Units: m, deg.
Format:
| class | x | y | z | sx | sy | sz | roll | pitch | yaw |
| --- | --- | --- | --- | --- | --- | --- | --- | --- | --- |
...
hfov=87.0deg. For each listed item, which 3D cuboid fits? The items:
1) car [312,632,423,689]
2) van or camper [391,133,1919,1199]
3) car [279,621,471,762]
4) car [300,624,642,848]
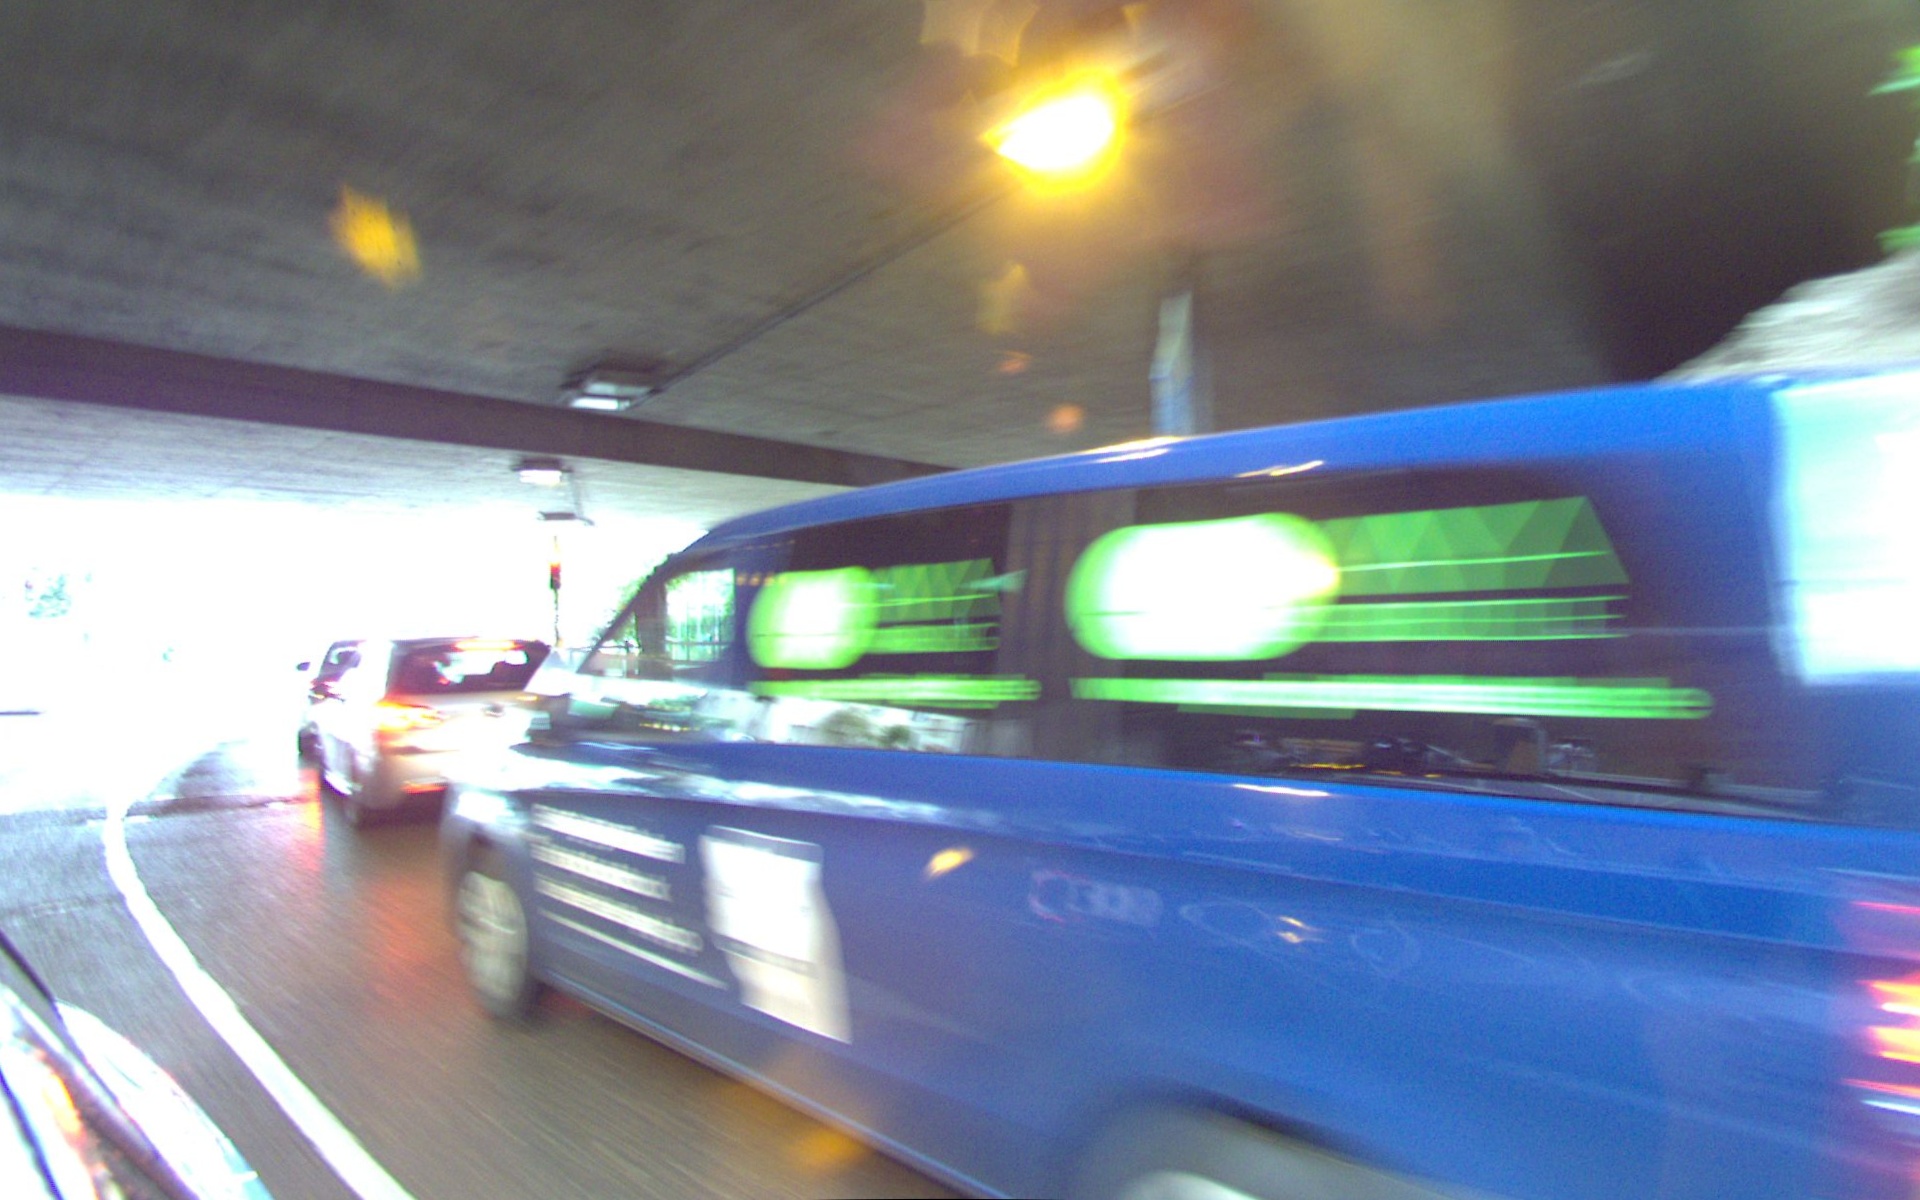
| class | x | y | z | sx | sy | sz | roll | pitch | yaw |
| --- | --- | --- | --- | --- | --- | --- | --- | --- | --- |
| car | -17.533 | 1.818 | 30.143 | 1.680 | 1.569 | 4.009 | 0 | -4 | -13 |
| van or camper | 0.167 | 0.541 | 3.144 | 5.140 | 1.882 | 1.971 | -2 | -3 | 44 |
| car | -7.959 | 1.094 | 14.012 | 1.965 | 1.541 | 4.514 | -1 | 0 | -28 |
| car | -4.499 | 0.971 | 8.945 | 1.967 | 1.476 | 4.114 | 1 | -2 | -37 |
